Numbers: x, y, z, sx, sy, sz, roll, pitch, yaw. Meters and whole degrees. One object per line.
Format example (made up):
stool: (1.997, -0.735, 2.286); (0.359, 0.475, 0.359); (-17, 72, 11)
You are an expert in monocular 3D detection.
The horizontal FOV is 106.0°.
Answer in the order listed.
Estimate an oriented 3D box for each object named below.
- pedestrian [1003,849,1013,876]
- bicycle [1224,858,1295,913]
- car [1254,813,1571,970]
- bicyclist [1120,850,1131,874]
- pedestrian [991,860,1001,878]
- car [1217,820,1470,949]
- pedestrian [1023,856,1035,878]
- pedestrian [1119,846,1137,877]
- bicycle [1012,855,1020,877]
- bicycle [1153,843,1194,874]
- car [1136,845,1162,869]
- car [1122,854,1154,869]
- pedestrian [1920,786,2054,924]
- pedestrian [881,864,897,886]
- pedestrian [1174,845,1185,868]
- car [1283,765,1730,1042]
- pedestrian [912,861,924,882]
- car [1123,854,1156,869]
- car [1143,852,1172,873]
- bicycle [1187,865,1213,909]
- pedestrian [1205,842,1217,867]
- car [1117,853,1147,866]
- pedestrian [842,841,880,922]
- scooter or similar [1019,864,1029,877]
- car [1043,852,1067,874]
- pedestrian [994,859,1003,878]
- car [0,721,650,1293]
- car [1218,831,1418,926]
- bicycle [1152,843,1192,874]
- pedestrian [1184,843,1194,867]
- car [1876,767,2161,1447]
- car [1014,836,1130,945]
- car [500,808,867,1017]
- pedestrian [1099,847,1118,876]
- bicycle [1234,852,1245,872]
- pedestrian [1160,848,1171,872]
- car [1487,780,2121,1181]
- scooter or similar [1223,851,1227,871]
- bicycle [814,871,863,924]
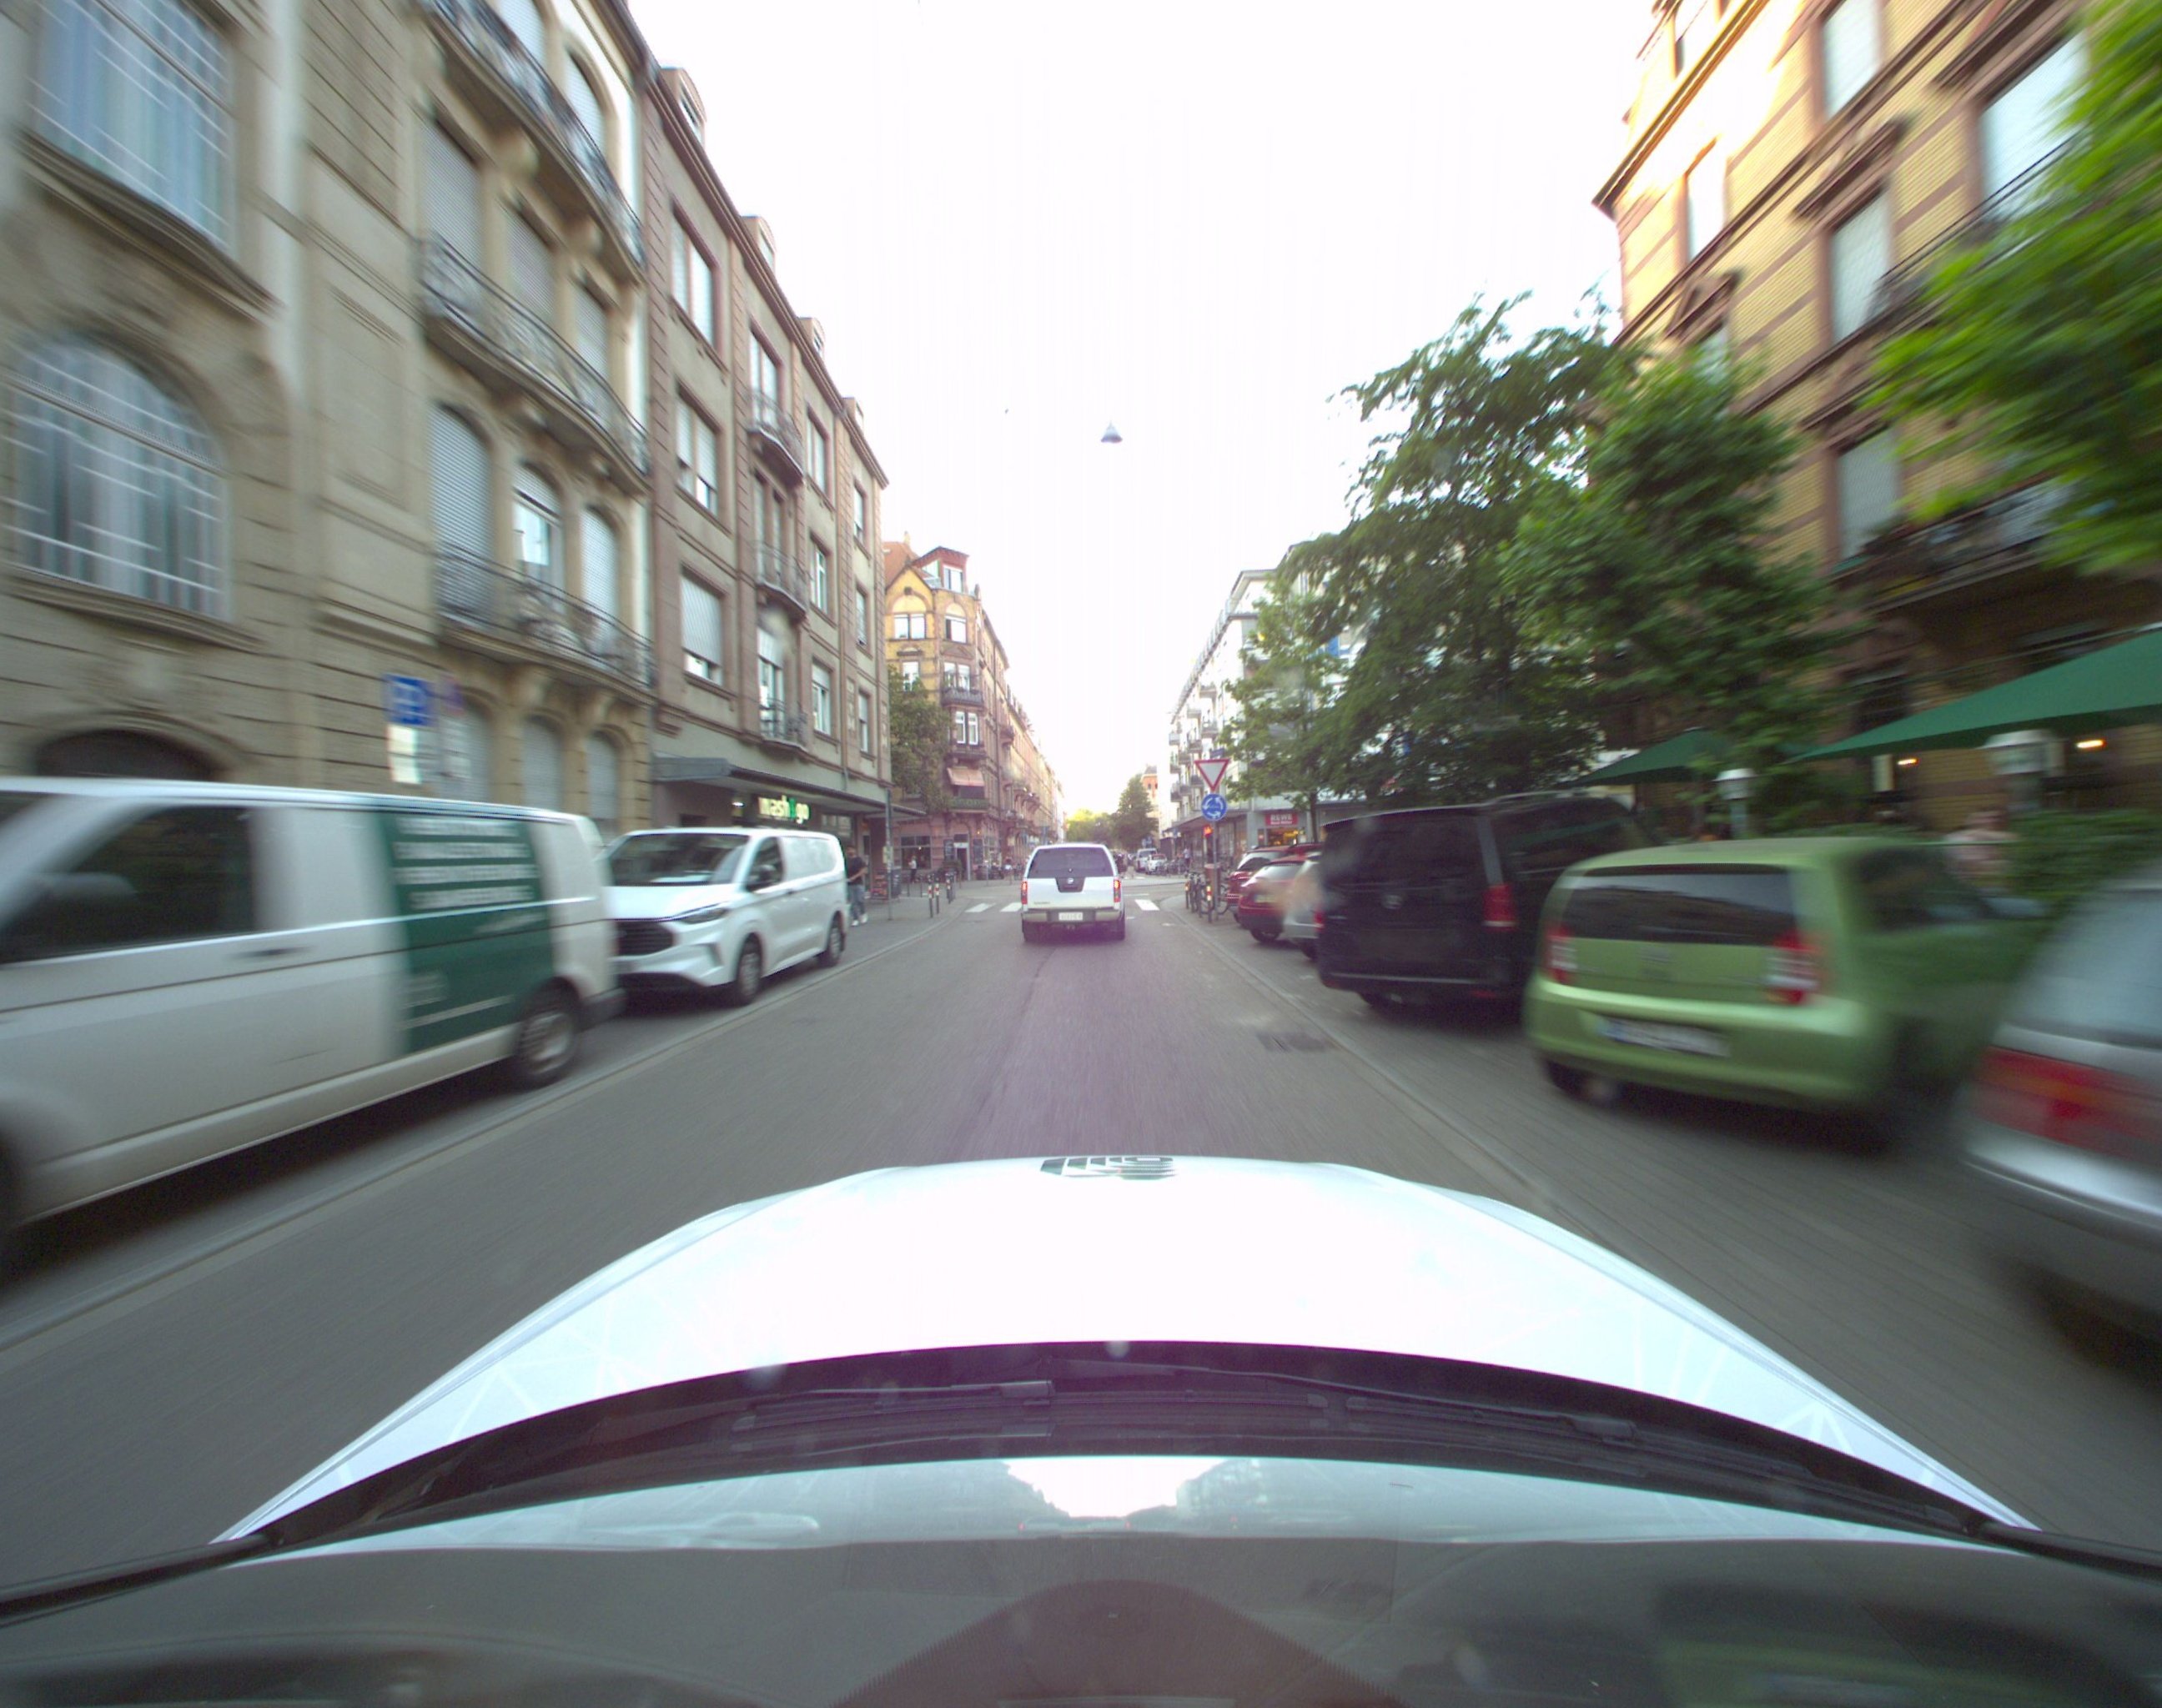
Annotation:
pedestrian: (-4.971, 0.590, 55.315); (0.505, 1.840, 0.569); (0, -1, -22)
bicycle: (4.074, 0.701, 18.593); (1.549, 1.161, 0.363); (-3, 0, -14)
car: (4.695, 0.407, 11.370); (4.240, 1.622, 1.913); (-5, 1, -33)
bicyclist: (3.724, 0.675, 68.221); (0.834, 1.944, 0.786); (-1, -1, 5)
pedestrian: (-5.825, 1.031, 55.790); (0.647, 1.191, 0.539); (-1, -1, -3)
car: (4.540, 0.418, 13.806); (4.245, 1.688, 1.911); (-5, 1, -37)
pedestrian: (-3.742, 0.938, 58.791); (0.795, 1.621, 0.944); (-1, -1, -1)
pedestrian: (2.855, 0.459, 49.600); (0.909, 1.885, 0.610); (0, -1, -30)
bicycle: (-4.418, 0.816, 55.387); (0.423, 1.442, 1.902); (-1, -1, -3)
bicycle: (6.117, 0.298, 54.022); (2.637, 2.014, 0.638); (-1, -1, 2)
car: (5.832, 0.267, 70.288); (1.936, 1.934, 4.000); (-1, -1, 0)
car: (7.239, 0.952, 103.848); (3.974, 1.750, 1.840); (-1, -1, 0)
pedestrian: (9.357, 0.015, 8.440); (0.586, 1.366, 0.696); (-1, -1, -2)
pedestrian: (-11.035, 1.212, 46.912); (0.751, 1.262, 0.668); (-1, -1, 0)
pedestrian: (7.083, 0.166, 58.825); (0.717, 1.663, 0.703); (-1, -1, 1)
car: (4.709, 0.227, 8.535); (5.463, 2.072, 1.911); (-5, 1, -37)
pedestrian: (-9.943, 1.059, 49.620); (0.451, 1.262, 0.578); (-1, -1, 26)
car: (7.245, 0.926, 101.609); (3.974, 1.750, 1.840); (-1, -1, 0)
car: (5.767, 0.625, 61.502); (1.828, 1.542, 4.000); (-1, -1, 0)
bicycle: (2.993, 0.821, 20.550); (0.363, 1.063, 1.551); (-1, -1, -2)
pedestrian: (8.660, 0.048, 54.223); (0.717, 1.663, 0.703); (-1, -1, 3)
car: (7.117, 0.724, 113.654); (3.974, 1.750, 1.840); (-1, -1, 0)
pedestrian: (-5.099, 0.624, 18.944); (0.534, 1.824, 0.998); (-1, -1, 5)
scooter or similar: (-3.987, 1.160, 57.071); (0.234, 0.929, 1.256); (0, -1, -24)
car: (-2.149, 0.766, 67.873); (1.828, 1.750, 4.000); (-1, -1, 0)
pedestrian: (-5.769, 0.997, 56.977); (0.647, 1.286, 0.539); (-1, -1, -3)
car: (-4.505, 0.540, 4.157); (1.830, 1.921, 4.848); (-2, 0, 2)
car: (5.031, 0.438, 17.138); (4.062, 1.628, 1.676); (-4, 1, -31)
bicycle: (6.096, 0.308, 54.837); (2.637, 2.014, 0.638); (-1, -1, 2)
pedestrian: (8.763, 0.112, 66.081); (0.717, 1.906, 0.703); (-1, -1, 1)
car: (4.455, 0.437, 2.518); (4.123, 1.551, 1.801); (-5, 1, -31)
car: (-0.021, 0.579, 16.359); (1.930, 1.810, 5.005); (-1, 1, 3)
car: (-4.440, 0.564, 10.254); (2.103, 1.921, 5.024); (-2, 0, 0)
pedestrian: (1.628, 0.443, 48.414); (0.911, 1.736, 0.608); (0, -1, -44)
bicycle: (9.348, 0.476, 48.103); (0.289, 1.112, 0.962); (0, -1, -11)
pedestrian: (5.840, 0.417, 56.147); (0.717, 1.663, 0.703); (-1, -1, 1)
car: (4.724, 0.454, 5.195); (4.123, 1.551, 1.801); (-5, 1, -31)
scooter or similar: (9.219, 0.437, 52.251); (0.218, 1.237, 0.968); (-1, 1, 8)
bicycle: (-5.619, 0.982, 18.964); (0.469, 1.142, 1.787); (-1, -1, 5)
